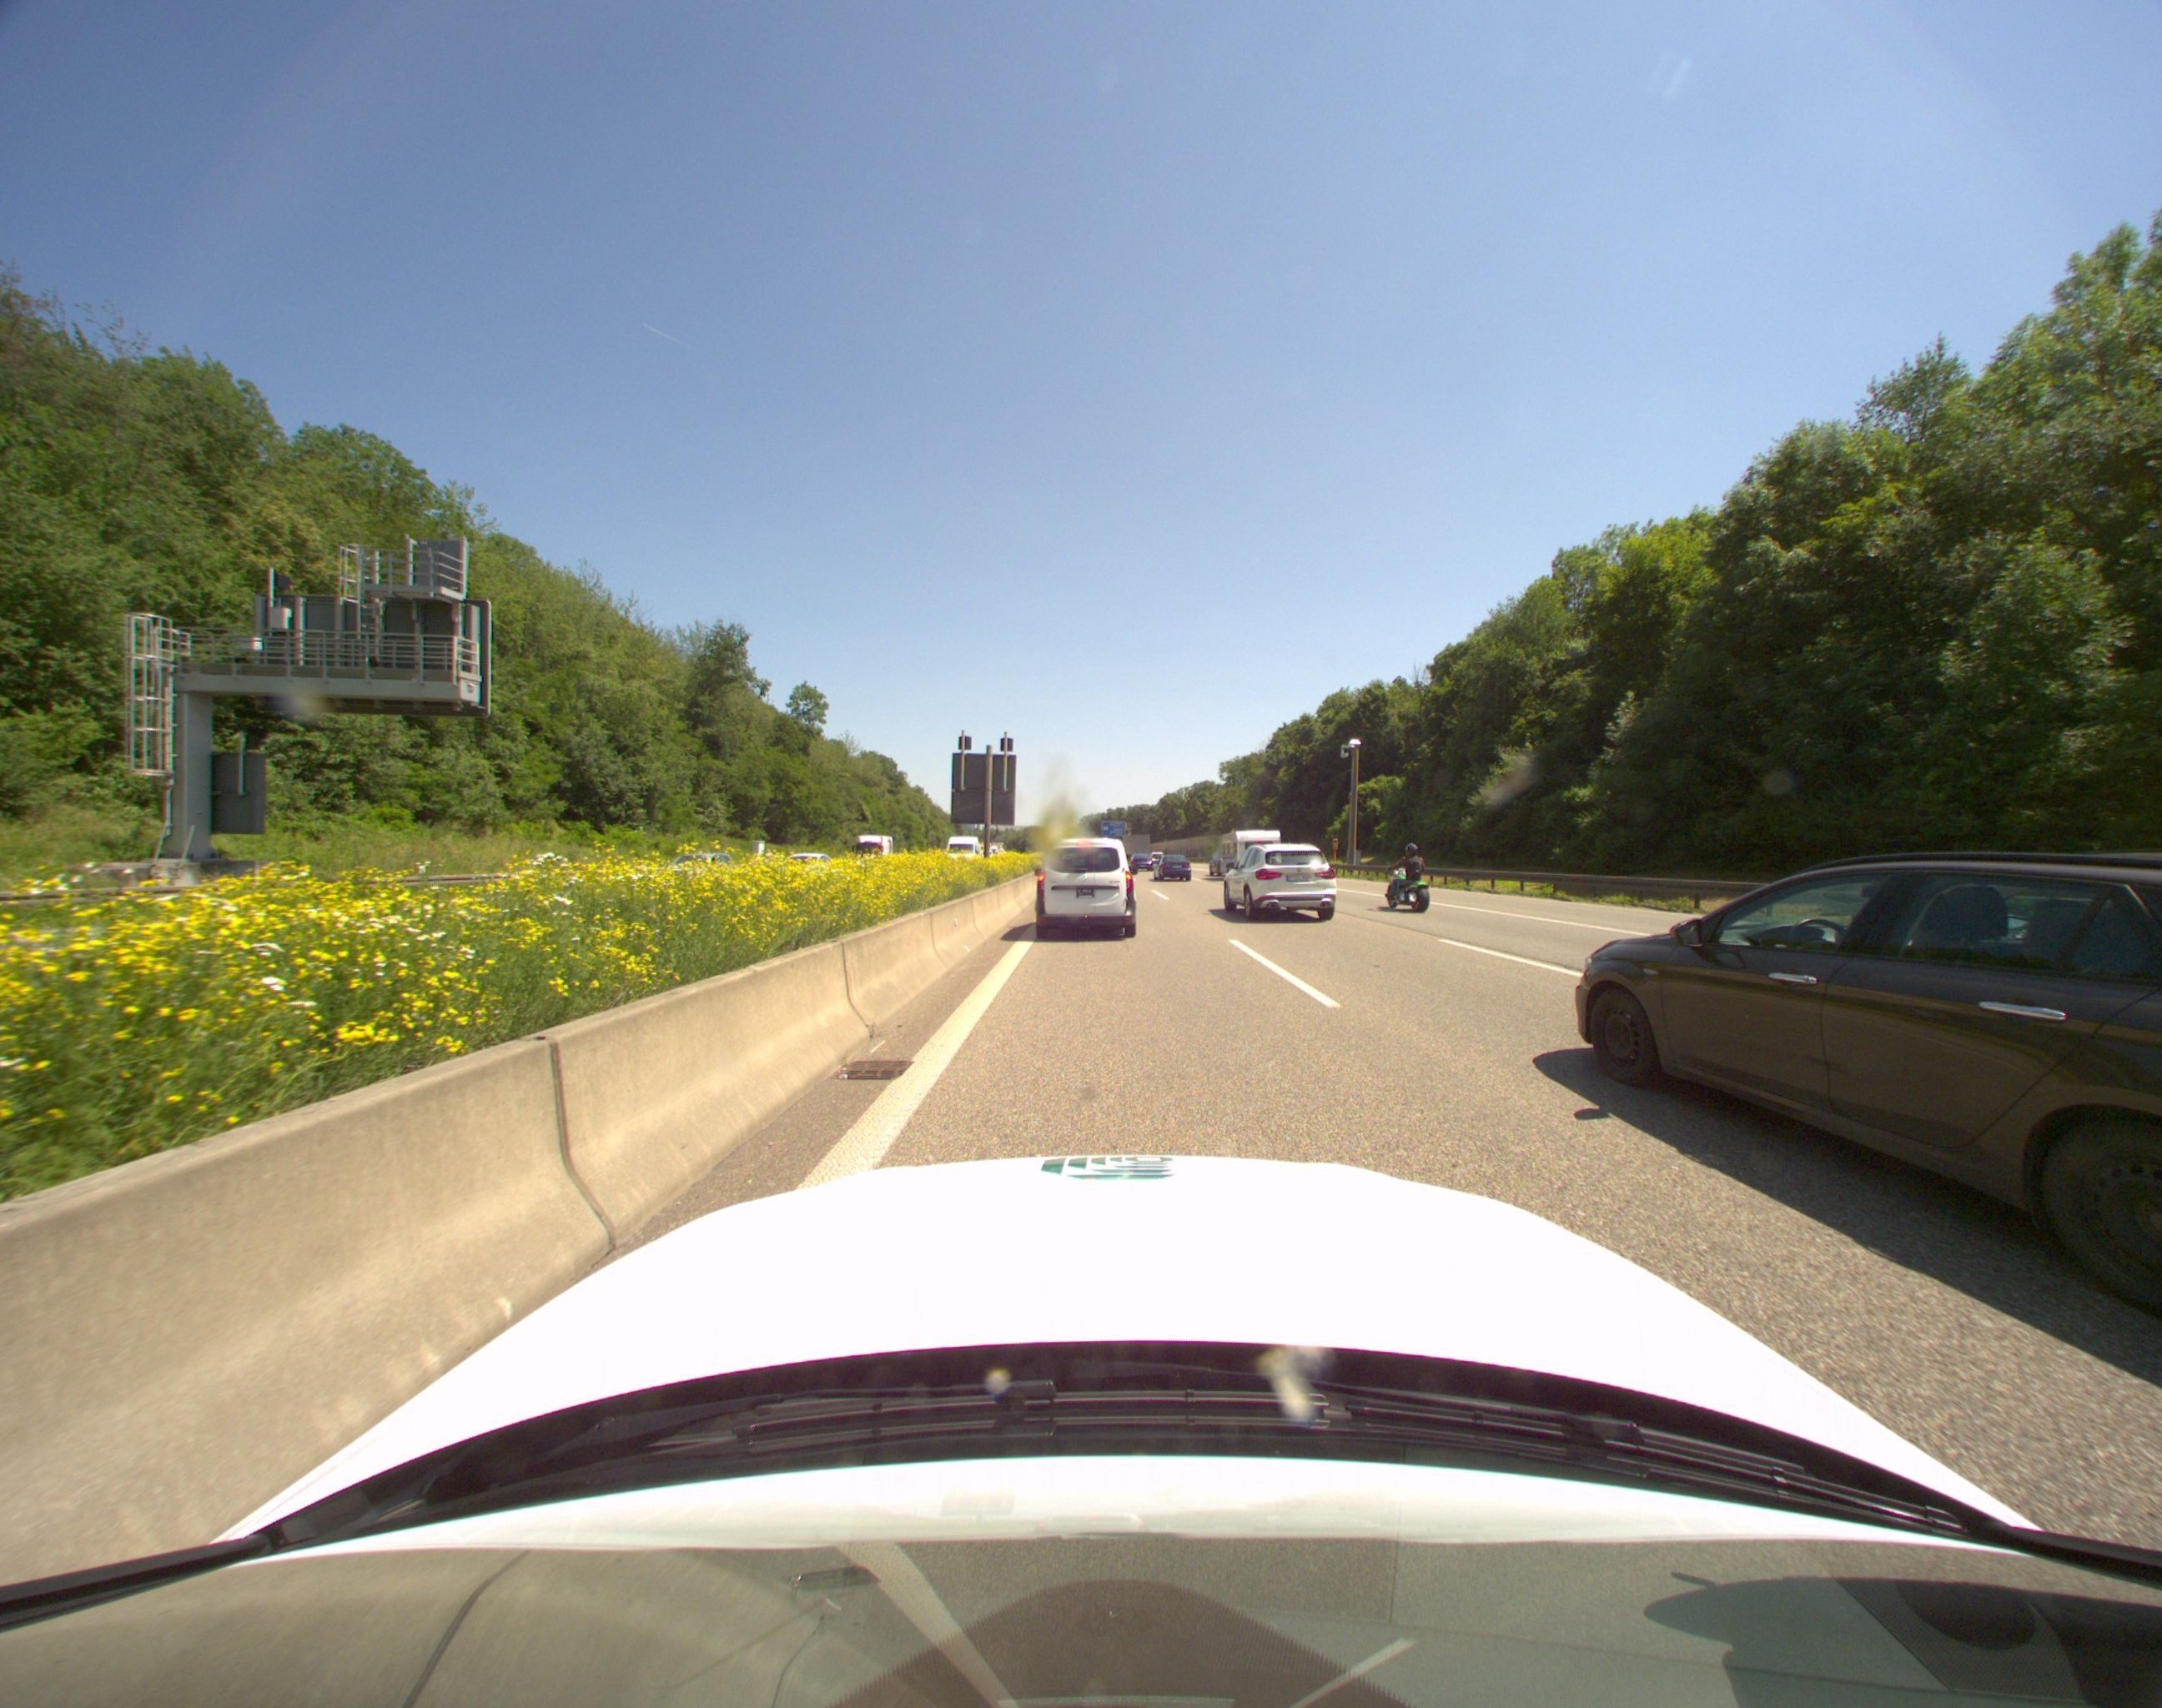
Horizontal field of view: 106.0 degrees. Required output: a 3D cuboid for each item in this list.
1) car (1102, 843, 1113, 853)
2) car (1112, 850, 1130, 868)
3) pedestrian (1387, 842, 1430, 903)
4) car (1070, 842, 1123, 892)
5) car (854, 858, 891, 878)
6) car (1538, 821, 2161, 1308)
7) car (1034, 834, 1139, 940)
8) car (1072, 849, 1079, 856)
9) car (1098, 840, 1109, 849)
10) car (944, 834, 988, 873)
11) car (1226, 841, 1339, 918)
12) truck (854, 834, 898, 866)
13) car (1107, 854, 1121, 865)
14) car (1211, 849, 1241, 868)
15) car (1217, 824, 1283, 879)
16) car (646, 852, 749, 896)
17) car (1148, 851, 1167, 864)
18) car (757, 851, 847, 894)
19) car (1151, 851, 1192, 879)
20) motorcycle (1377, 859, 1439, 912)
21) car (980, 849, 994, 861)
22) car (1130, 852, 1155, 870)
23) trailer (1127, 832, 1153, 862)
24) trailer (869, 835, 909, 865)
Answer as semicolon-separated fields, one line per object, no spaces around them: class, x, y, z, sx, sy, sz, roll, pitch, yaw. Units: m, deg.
car;5.107;-1.148;155.510;1.986;2.013;4.002;-1;0;2
car;4.352;0.539;89.522;1.817;1.989;4.001;0;0;1
pedestrian;8.112;0.441;20.223;0.847;1.478;0.639;0;1;5
car;0.627;0.475;32.771;1.986;1.860;4.001;0;0;1
car;-15.969;1.016;62.555;1.781;1.454;3.542;0;0;1
car;4.284;0.637;3.834;1.832;1.513;4.402;0;1;0
car;0.128;0.561;16.003;1.796;1.808;4.000;0;0;1
car;-1.522;-0.493;248.767;1.986;2.013;4.001;0;0;1
car;4.669;-1.964;169.229;1.988;2.013;3.997;-1;0;-2
car;-7.806;-0.053;55.961;1.986;2.541;5.911;0;0;2
car;4.550;0.525;18.931;1.863;1.608;3.882;0;0;3
truck;-20.068;-0.365;80.243;2.398;3.005;7.459;0;0;0
car;4.502;0.708;110.809;1.817;1.447;4.001;0;0;1
car;11.656;0.342;65.680;1.817;1.424;4.001;0;0;1
car;9.178;-0.137;44.759;2.470;2.765;6.222;0;0;1
car;-14.714;0.710;31.502;1.986;1.574;4.001;0;0;1
car;8.525;0.403;90.579;1.817;1.424;4.001;0;0;1
car;-10.766;0.671;31.730;1.986;1.574;4.001;0;0;1
car;4.769;0.560;43.303;1.817;1.424;4.001;0;0;1
motorcycle;8.114;0.749;20.308;0.855;1.181;2.280;0;1;6
car;-15.675;0.175;136.041;1.987;2.013;3.999;0;0;0
car;4.906;0.535;65.590;1.817;1.424;4.001;0;0;1
trailer;8.107;-0.911;112.498;3.070;3.985;10.326;0;0;1
trailer;-20.033;-0.385;85.304;2.398;3.005;7.459;0;0;0
